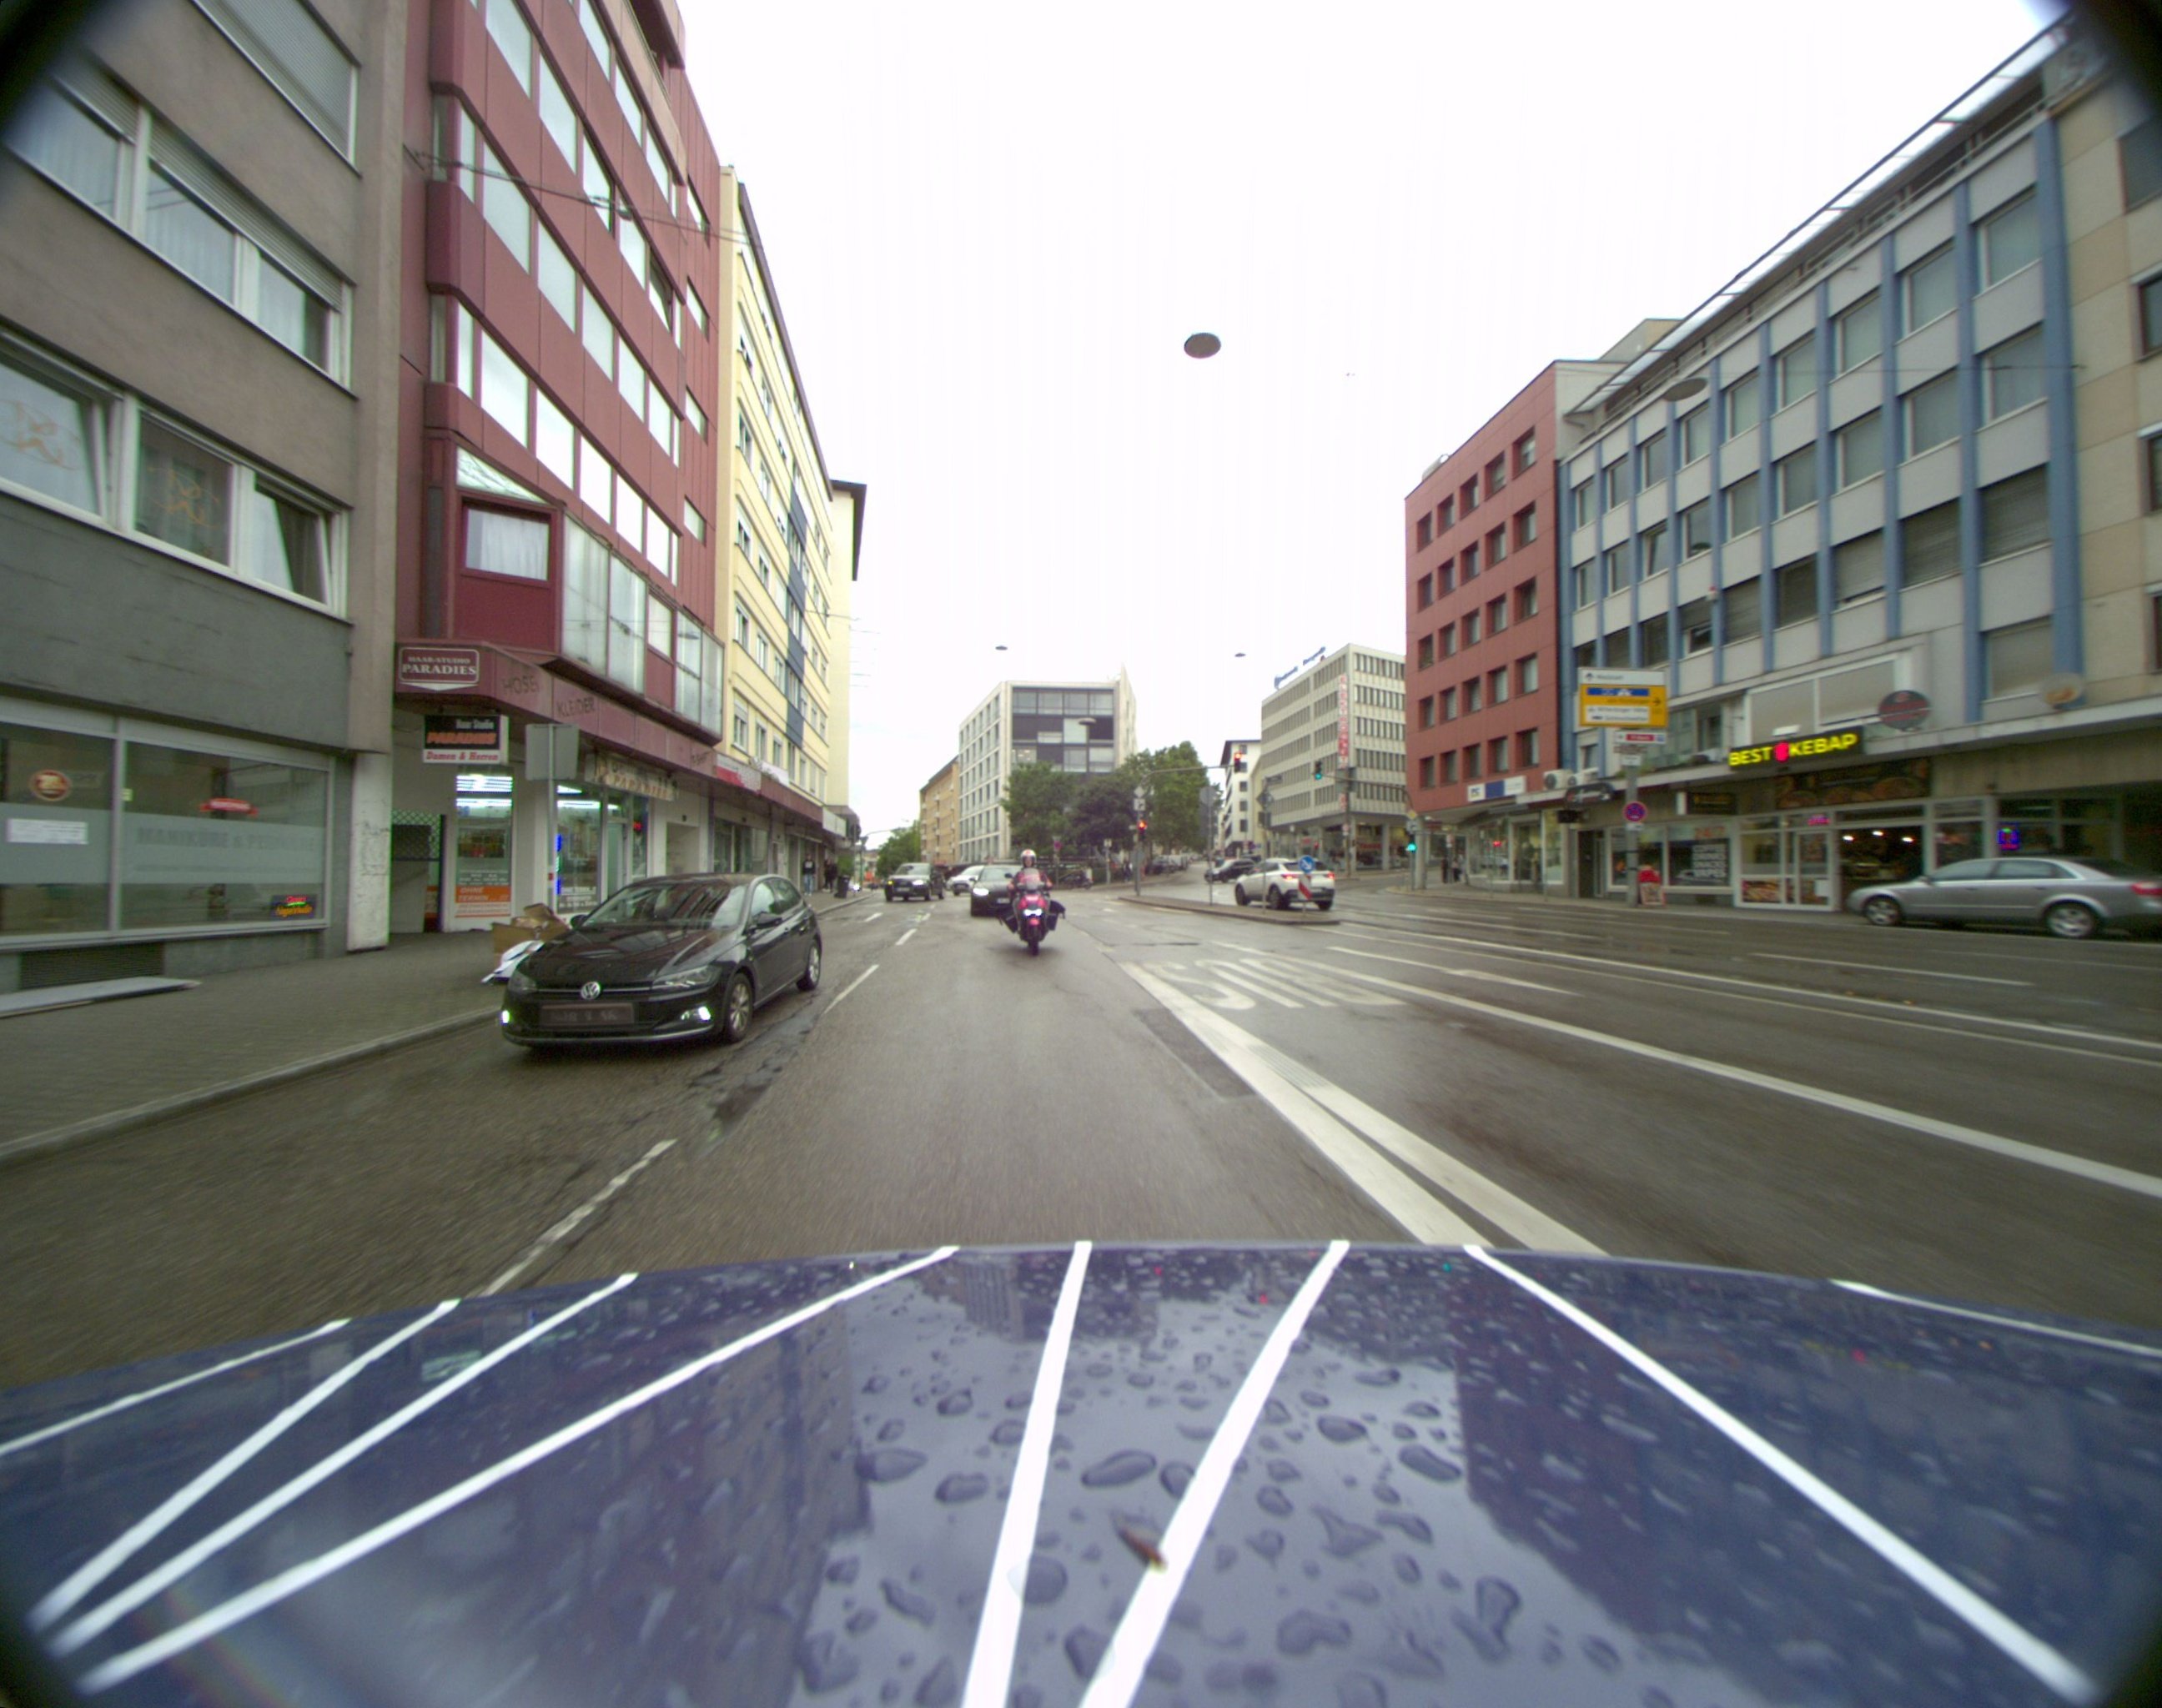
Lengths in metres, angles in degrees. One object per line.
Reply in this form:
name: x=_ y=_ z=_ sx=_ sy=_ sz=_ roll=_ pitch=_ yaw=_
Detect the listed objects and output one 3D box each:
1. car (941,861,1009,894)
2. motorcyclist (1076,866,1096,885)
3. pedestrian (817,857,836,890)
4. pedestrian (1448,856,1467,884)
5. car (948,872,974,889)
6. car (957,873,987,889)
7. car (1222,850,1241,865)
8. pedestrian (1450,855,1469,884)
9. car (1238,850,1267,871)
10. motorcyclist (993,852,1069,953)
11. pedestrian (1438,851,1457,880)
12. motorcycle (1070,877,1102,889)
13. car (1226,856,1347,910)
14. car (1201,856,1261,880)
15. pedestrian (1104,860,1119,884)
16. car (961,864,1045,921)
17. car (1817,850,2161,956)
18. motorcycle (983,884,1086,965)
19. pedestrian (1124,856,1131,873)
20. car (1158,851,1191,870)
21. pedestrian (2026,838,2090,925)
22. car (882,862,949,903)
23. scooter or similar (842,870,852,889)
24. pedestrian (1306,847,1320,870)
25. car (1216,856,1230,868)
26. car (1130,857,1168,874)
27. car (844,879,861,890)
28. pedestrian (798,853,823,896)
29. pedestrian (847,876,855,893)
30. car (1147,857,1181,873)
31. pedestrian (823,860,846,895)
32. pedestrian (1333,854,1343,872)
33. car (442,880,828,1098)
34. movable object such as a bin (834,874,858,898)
car: x=-5.529 y=1.226 z=40.099 sx=1.996 sy=1.574 sz=4.109 roll=-3 pitch=-1 yaw=16
motorcyclist: x=0.365 y=1.588 z=56.199 sx=1.111 sy=1.434 sz=0.913 roll=-1 pitch=0 yaw=36
pedestrian: x=-13.549 y=1.035 z=40.468 sx=0.616 sy=1.752 sz=0.789 roll=-3 pitch=-1 yaw=14
pedestrian: x=22.429 y=0.966 z=45.245 sx=0.734 sy=1.619 sz=0.693 roll=-2 pitch=-1 yaw=-33
car: x=-11.670 y=2.590 z=73.861 sx=1.812 sy=1.489 sz=3.995 roll=-2 pitch=-1 yaw=-19
car: x=-9.689 y=2.413 z=67.364 sx=1.977 sy=1.379 sz=3.995 roll=2 pitch=-2 yaw=-19
car: x=18.729 y=0.466 z=94.831 sx=1.931 sy=1.662 sz=4.449 roll=-2 pitch=-1 yaw=7
pedestrian: x=23.461 y=0.953 z=47.083 sx=0.701 sy=1.737 sz=0.731 roll=-2 pitch=-1 yaw=-35
car: x=17.760 y=0.692 z=78.937 sx=2.096 sy=2.078 sz=4.616 roll=-2 pitch=-1 yaw=2
motorcyclist: x=-0.856 y=0.780 z=12.763 sx=1.094 sy=1.595 sz=0.952 roll=-2 pitch=0 yaw=-13
pedestrian: x=22.443 y=0.723 z=46.528 sx=0.744 sy=1.737 sz=0.731 roll=-2 pitch=-1 yaw=-35
motorcycle: x=0.341 y=2.169 z=56.237 sx=2.389 sy=0.837 sz=0.714 roll=-1 pitch=0 yaw=36
car: x=6.548 y=0.925 z=24.762 sx=2.000 sy=1.542 sz=4.425 roll=-2 pitch=-1 yaw=-11
car: x=11.155 y=1.024 z=56.448 sx=4.007 sy=1.673 sz=1.995 roll=-2 pitch=0 yaw=-33
pedestrian: x=2.319 y=1.374 z=58.516 sx=0.784 sy=1.739 sz=0.788 roll=-6 pitch=-1 yaw=-15
car: x=-2.214 y=1.063 z=22.849 sx=1.998 sy=1.482 sz=4.735 roll=-1 pitch=0 yaw=0
car: x=17.128 y=0.765 z=14.133 sx=1.870 sy=1.599 sz=4.878 roll=-1 pitch=0 yaw=-5
motorcycle: x=-0.845 y=1.114 z=12.790 sx=1.314 sy=1.128 sz=2.182 roll=-1 pitch=0 yaw=-15
pedestrian: x=5.126 y=1.173 z=83.001 sx=0.592 sy=1.802 sz=0.705 roll=-3 pitch=-2 yaw=10
car: x=12.414 y=0.867 z=100.873 sx=3.827 sy=2.252 sz=1.988 roll=-3 pitch=0 yaw=24
pedestrian: x=19.556 y=0.547 z=15.213 sx=0.447 sy=1.698 sz=0.584 roll=-2 pitch=-1 yaw=-6
car: x=-6.849 y=1.144 z=31.898 sx=1.871 sy=1.538 sz=4.104 roll=-2 pitch=-1 yaw=0
scooter or similar: x=-16.335 y=1.774 z=53.031 sx=0.377 sy=1.352 sz=1.148 roll=-2 pitch=0 yaw=-3
pedestrian: x=20.324 y=0.408 z=66.492 sx=0.993 sy=2.002 sz=0.948 roll=-1 pitch=0 yaw=8
car: x=22.578 y=1.347 z=121.247 sx=2.024 sy=1.829 sz=4.048 roll=-2 pitch=-1 yaw=9
car: x=6.826 y=1.143 z=75.845 sx=3.540 sy=1.550 sz=1.742 roll=-3 pitch=0 yaw=13
car: x=-30.093 y=4.023 z=99.956 sx=1.787 sy=1.444 sz=3.995 roll=-2 pitch=-2 yaw=-20
pedestrian: x=-11.384 y=0.882 z=32.040 sx=0.839 sy=1.753 sz=0.617 roll=3 pitch=-3 yaw=-15
pedestrian: x=-23.120 y=3.041 z=76.343 sx=0.738 sy=1.636 sz=0.641 roll=-2 pitch=0 yaw=-17
car: x=9.127 y=1.181 z=83.742 sx=3.541 sy=1.550 sz=1.741 roll=-3 pitch=0 yaw=10
pedestrian: x=-12.419 y=1.172 z=38.274 sx=0.753 sy=1.712 sz=0.754 roll=-3 pitch=-1 yaw=14
pedestrian: x=22.917 y=0.798 z=67.710 sx=0.714 sy=1.613 sz=0.724 roll=-1 pitch=0 yaw=12
car: x=-3.847 y=1.035 z=7.424 sx=1.743 sy=1.422 sz=3.878 roll=0 pitch=0 yaw=-5
movable object such as a bin: x=-9.653 y=1.328 z=31.229 sx=0.530 sy=0.928 sz=0.674 roll=3 pitch=-1 yaw=28
